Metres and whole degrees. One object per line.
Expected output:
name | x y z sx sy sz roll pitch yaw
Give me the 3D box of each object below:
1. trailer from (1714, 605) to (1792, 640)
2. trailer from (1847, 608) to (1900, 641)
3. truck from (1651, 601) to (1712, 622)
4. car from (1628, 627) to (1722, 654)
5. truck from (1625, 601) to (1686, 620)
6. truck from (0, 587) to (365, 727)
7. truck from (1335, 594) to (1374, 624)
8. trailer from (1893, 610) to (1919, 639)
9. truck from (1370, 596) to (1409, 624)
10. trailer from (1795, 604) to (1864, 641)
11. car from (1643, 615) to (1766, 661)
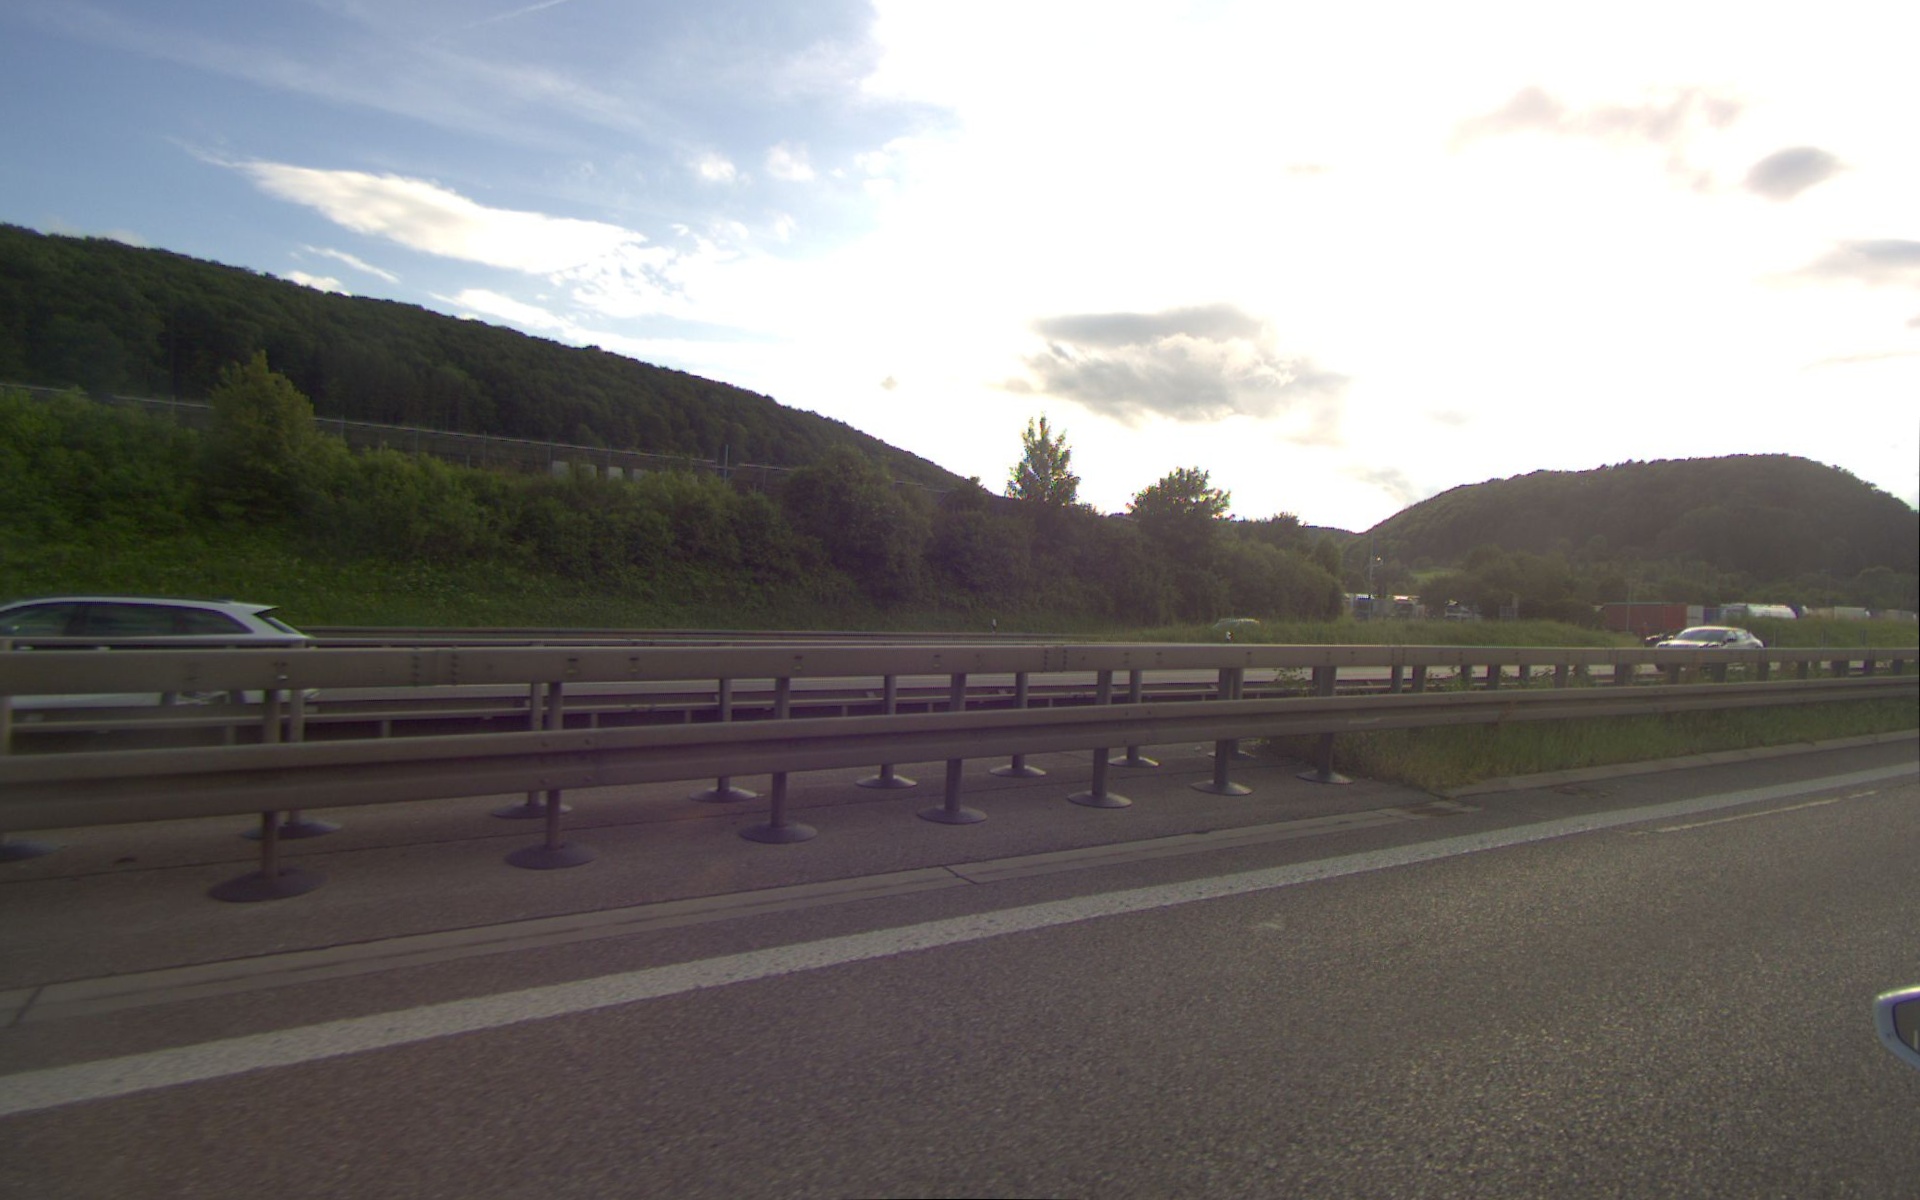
trailer | 75.520 2.175 95.521 12.146 2.891 2.561 3 -1 -36
trailer | 112.512 3.117 123.659 13.561 3.744 2.854 3 -3 -39
truck | 85.427 1.387 119.095 2.841 2.256 7.313 1 -1 8
car | 45.226 2.523 63.578 1.985 1.572 4.563 2 -1 -42
truck | 80.543 1.287 116.527 2.841 2.040 7.314 2 -1 8
truck | -9.309 0.579 11.147 4.596 1.383 1.982 2 -1 -33
truck | 55.866 1.348 142.493 2.535 3.907 11.388 2 -1 9
trailer | 129.569 3.383 136.017 10.274 3.745 2.857 2 -1 -36
truck | 63.127 1.555 147.934 2.535 3.907 11.388 2 -1 9
trailer | 95.053 2.505 109.667 13.549 3.745 2.857 2 -2 -37
car | 26.217 1.356 35.325 4.641 1.516 1.983 2 -3 -33
